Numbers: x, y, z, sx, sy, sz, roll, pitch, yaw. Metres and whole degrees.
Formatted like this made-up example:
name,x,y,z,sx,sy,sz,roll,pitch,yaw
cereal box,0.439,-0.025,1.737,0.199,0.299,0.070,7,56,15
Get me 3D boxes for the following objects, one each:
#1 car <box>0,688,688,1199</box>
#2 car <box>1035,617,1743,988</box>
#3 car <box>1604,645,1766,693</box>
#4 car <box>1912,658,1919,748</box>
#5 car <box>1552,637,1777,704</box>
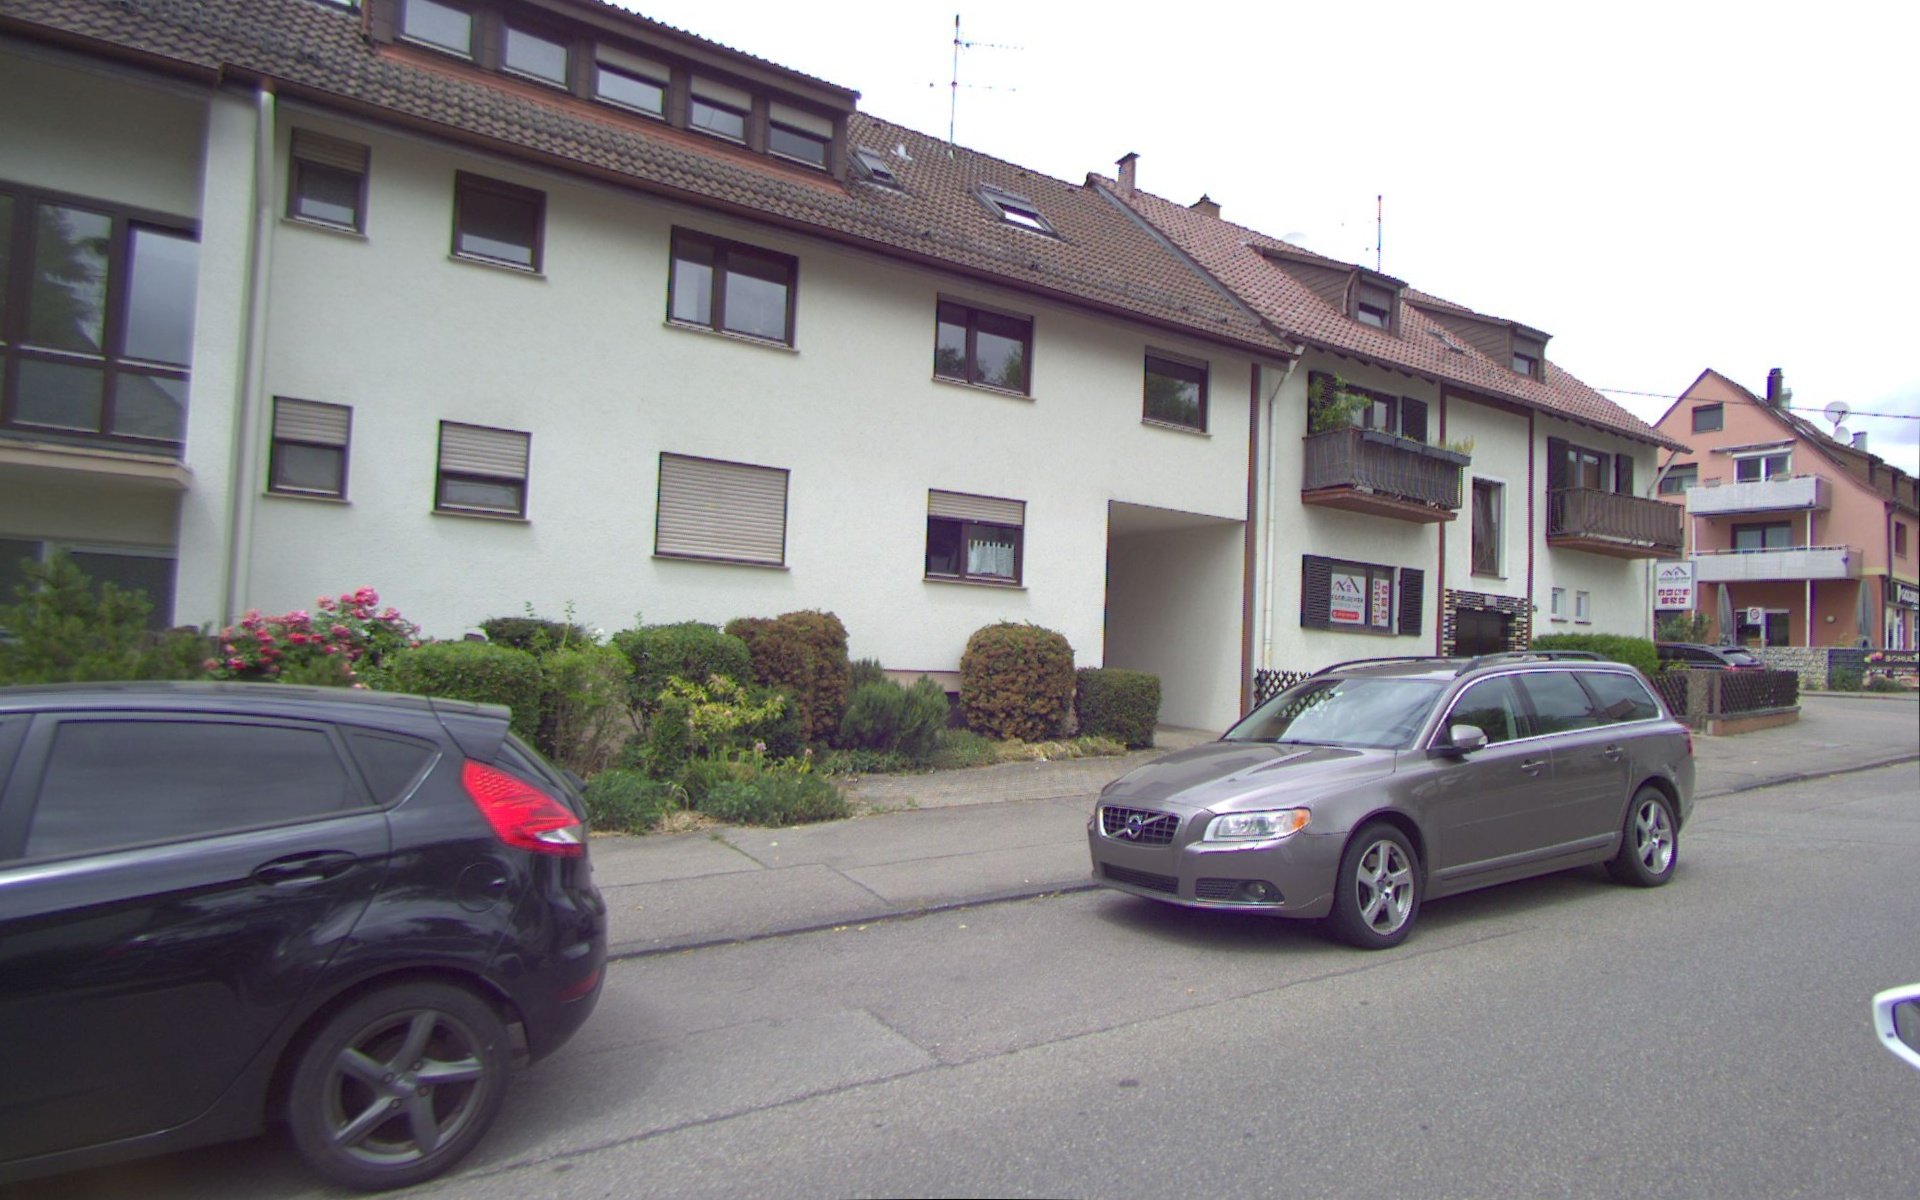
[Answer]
name,x,y,z,sx,sy,sz,roll,pitch,yaw
car,-3.054,1.044,3.000,4.031,1.457,1.754,2,-4,-31
car,2.973,1.084,6.675,4.731,1.701,1.839,2,-6,-31
car,25.338,2.380,35.321,1.966,1.491,4.408,3,-3,-13
car,16.486,1.610,15.481,3.857,1.476,1.717,2,-6,-33
car,18.481,1.790,26.589,1.976,1.492,4.497,1,-1,-29
